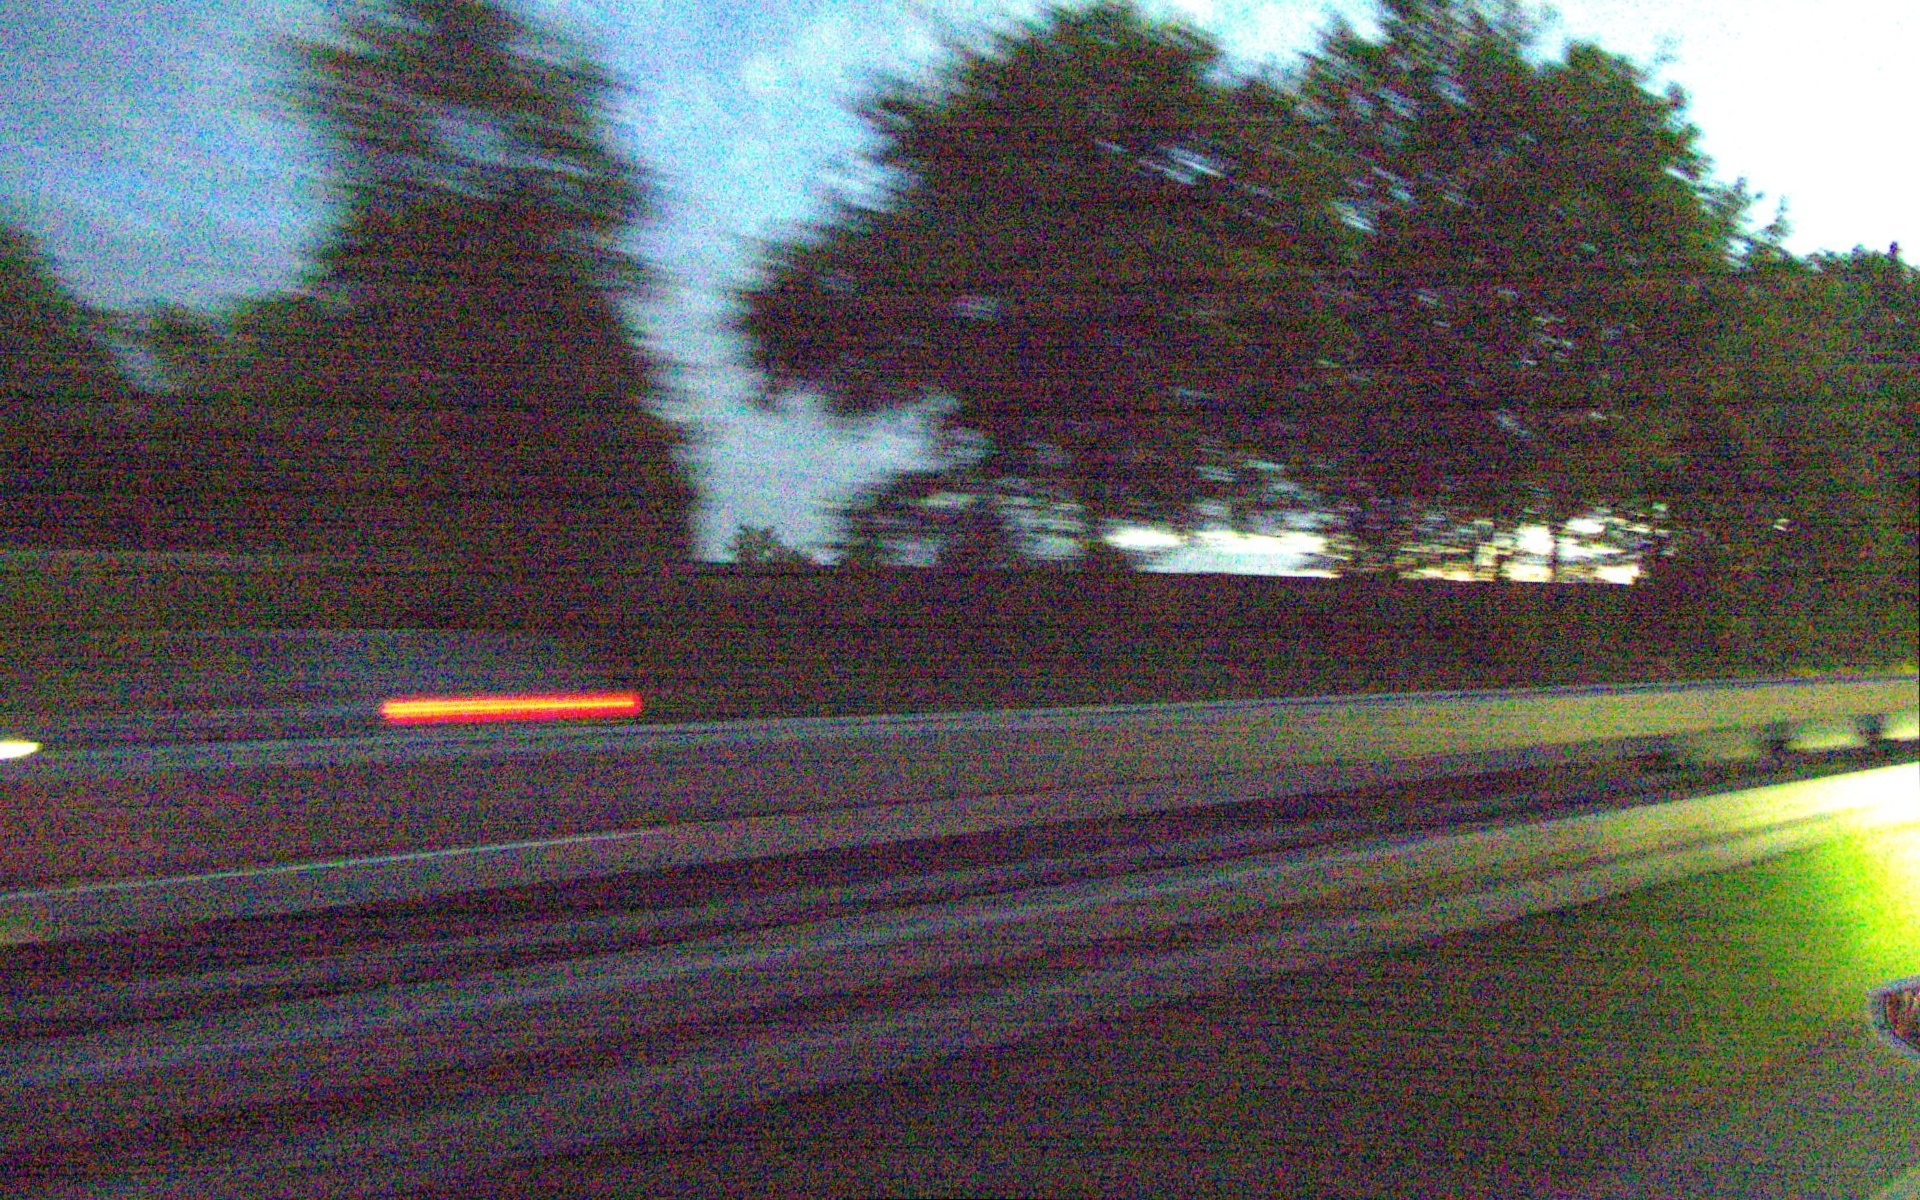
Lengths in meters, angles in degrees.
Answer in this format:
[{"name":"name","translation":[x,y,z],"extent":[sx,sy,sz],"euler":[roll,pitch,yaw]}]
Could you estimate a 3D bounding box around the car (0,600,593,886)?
[{"name":"car","translation":[-4.894,0.846,7.046],"extent":[4.118,1.608,1.674],"euler":[1,0,-31]}]
